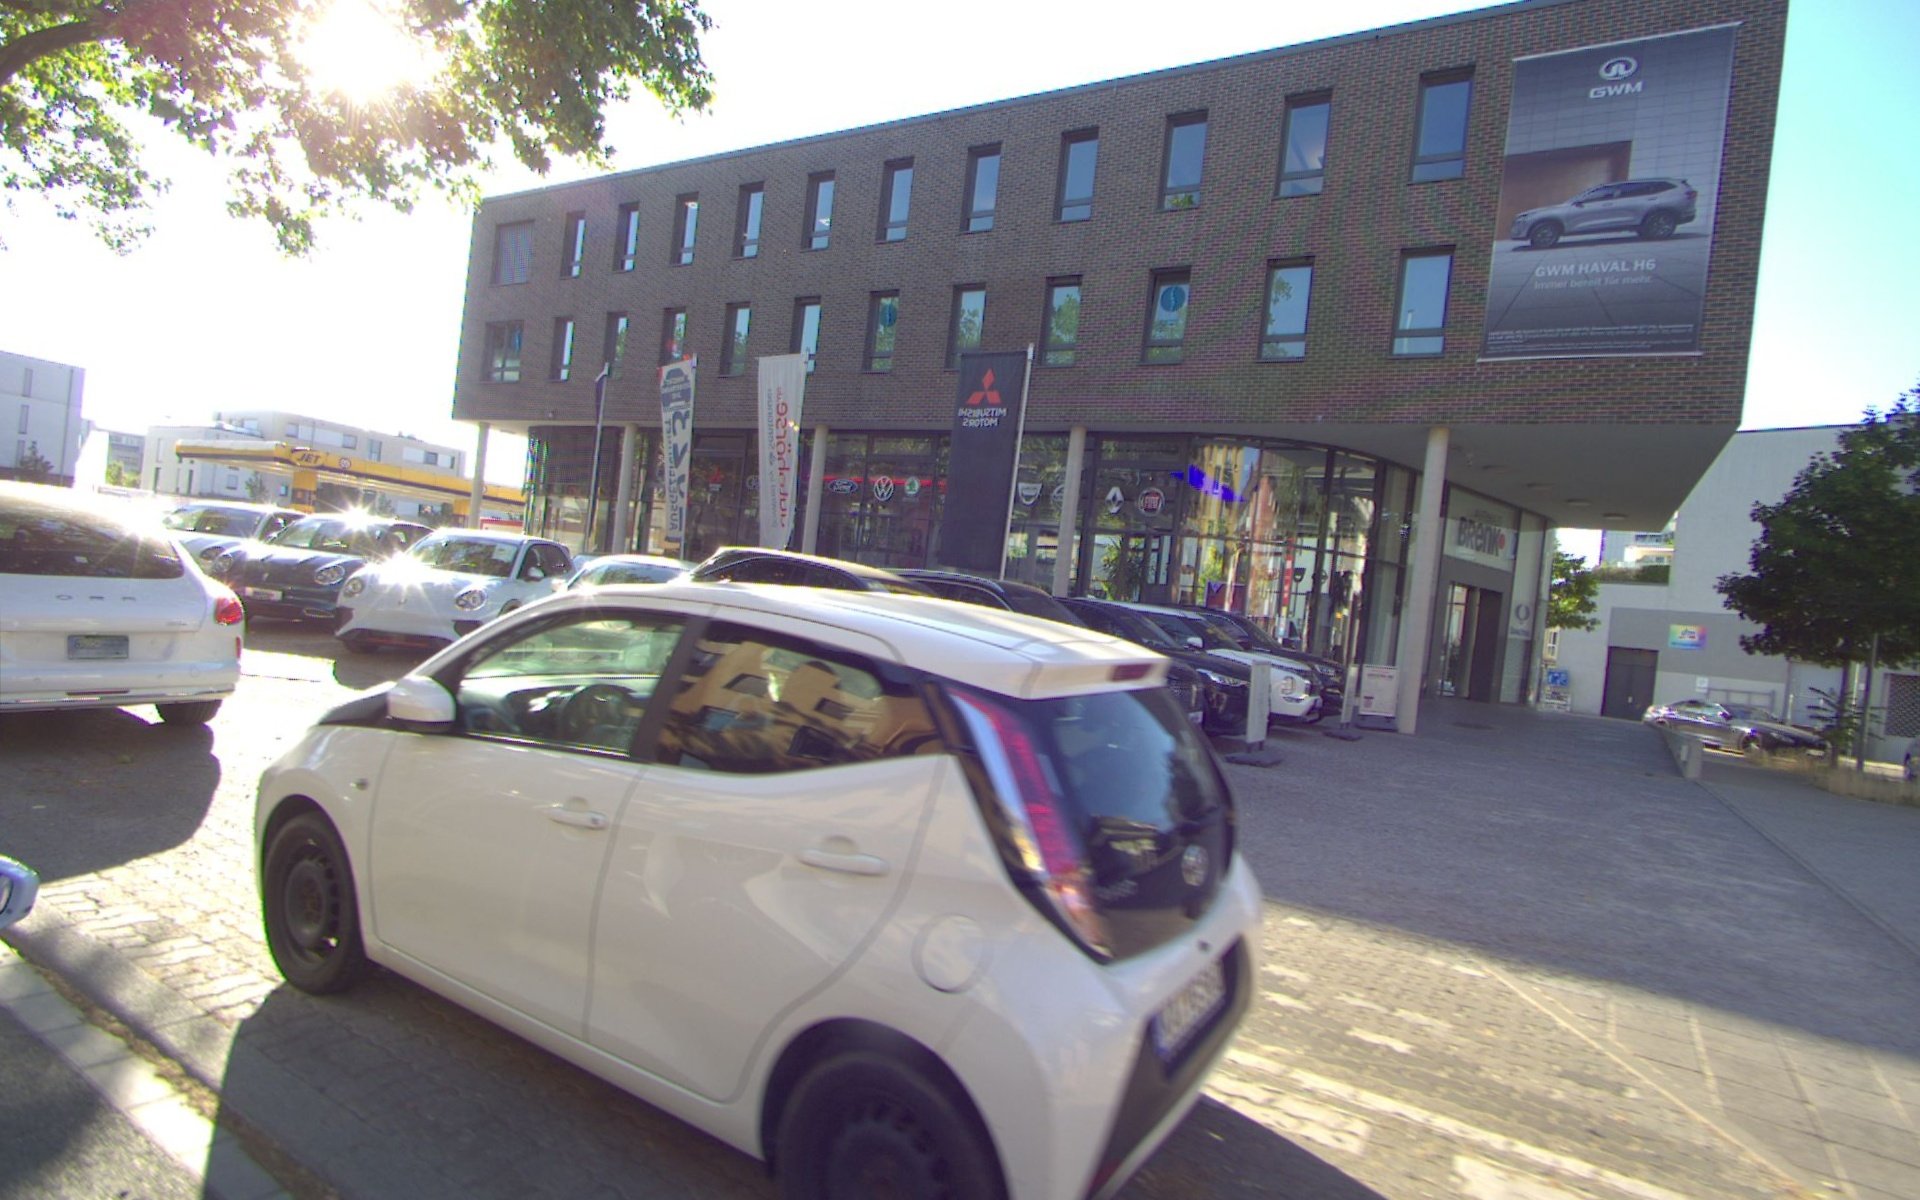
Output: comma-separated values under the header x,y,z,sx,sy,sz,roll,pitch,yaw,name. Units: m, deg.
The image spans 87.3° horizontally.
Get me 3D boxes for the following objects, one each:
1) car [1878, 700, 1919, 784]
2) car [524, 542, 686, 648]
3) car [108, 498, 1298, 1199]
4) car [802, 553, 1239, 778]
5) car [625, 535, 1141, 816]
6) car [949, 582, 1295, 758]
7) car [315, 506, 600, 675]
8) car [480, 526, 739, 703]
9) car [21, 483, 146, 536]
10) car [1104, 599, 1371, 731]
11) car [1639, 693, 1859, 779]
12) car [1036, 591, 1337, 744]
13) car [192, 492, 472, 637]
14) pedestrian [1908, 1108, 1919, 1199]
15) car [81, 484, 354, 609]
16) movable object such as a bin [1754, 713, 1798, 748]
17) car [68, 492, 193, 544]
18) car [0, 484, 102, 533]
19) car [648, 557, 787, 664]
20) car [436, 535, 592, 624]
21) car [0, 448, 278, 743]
x,y,z,sx,sy,sz,roll,pitch,yaw,name
21.476,3.178,21.264,1.996,1.683,4.487,7,1,30,car
-6.245,-0.107,18.144,1.613,1.530,3.816,7,1,-3,car
-1.094,0.557,3.511,3.954,1.487,1.636,6,1,31,car
0.605,0.606,11.076,4.294,1.753,1.828,7,0,30,car
-0.759,0.512,8.733,4.089,1.690,1.754,7,0,32,car
2.124,0.852,13.522,4.109,1.705,1.729,7,0,30,car
-6.085,-0.122,12.732,1.710,1.630,3.816,7,1,-3,car
-3.877,0.160,11.848,1.632,1.564,3.818,7,0,-1,car
-37.971,-3.876,43.715,1.806,1.733,3.838,6,0,5,car
4.980,1.112,18.188,4.112,1.755,1.987,7,0,33,car
21.486,3.638,27.717,1.767,1.517,4.871,7,0,-6,car
3.529,0.986,15.832,4.109,1.755,1.878,7,0,30,car
-8.655,-0.464,14.300,1.710,1.598,3.814,7,1,-5,car
2.380,0.868,1.752,0.681,1.744,0.721,6,1,-4,pedestrian
-11.827,-0.802,16.384,1.715,1.598,3.814,7,1,-5,car
29.564,4.728,36.462,0.979,1.086,0.912,6,2,-36,movable object such as a bin
-34.067,-3.340,41.458,1.666,1.608,3.838,6,0,5,car
-42.029,-4.194,45.977,1.806,1.733,3.839,6,0,14,car
-4.210,0.144,18.044,1.613,1.530,3.816,7,1,-3,car
-9.274,-0.421,21.253,1.613,1.530,3.816,7,1,-3,car
-6.742,-0.191,6.869,4.509,1.559,1.810,6,2,33,car
